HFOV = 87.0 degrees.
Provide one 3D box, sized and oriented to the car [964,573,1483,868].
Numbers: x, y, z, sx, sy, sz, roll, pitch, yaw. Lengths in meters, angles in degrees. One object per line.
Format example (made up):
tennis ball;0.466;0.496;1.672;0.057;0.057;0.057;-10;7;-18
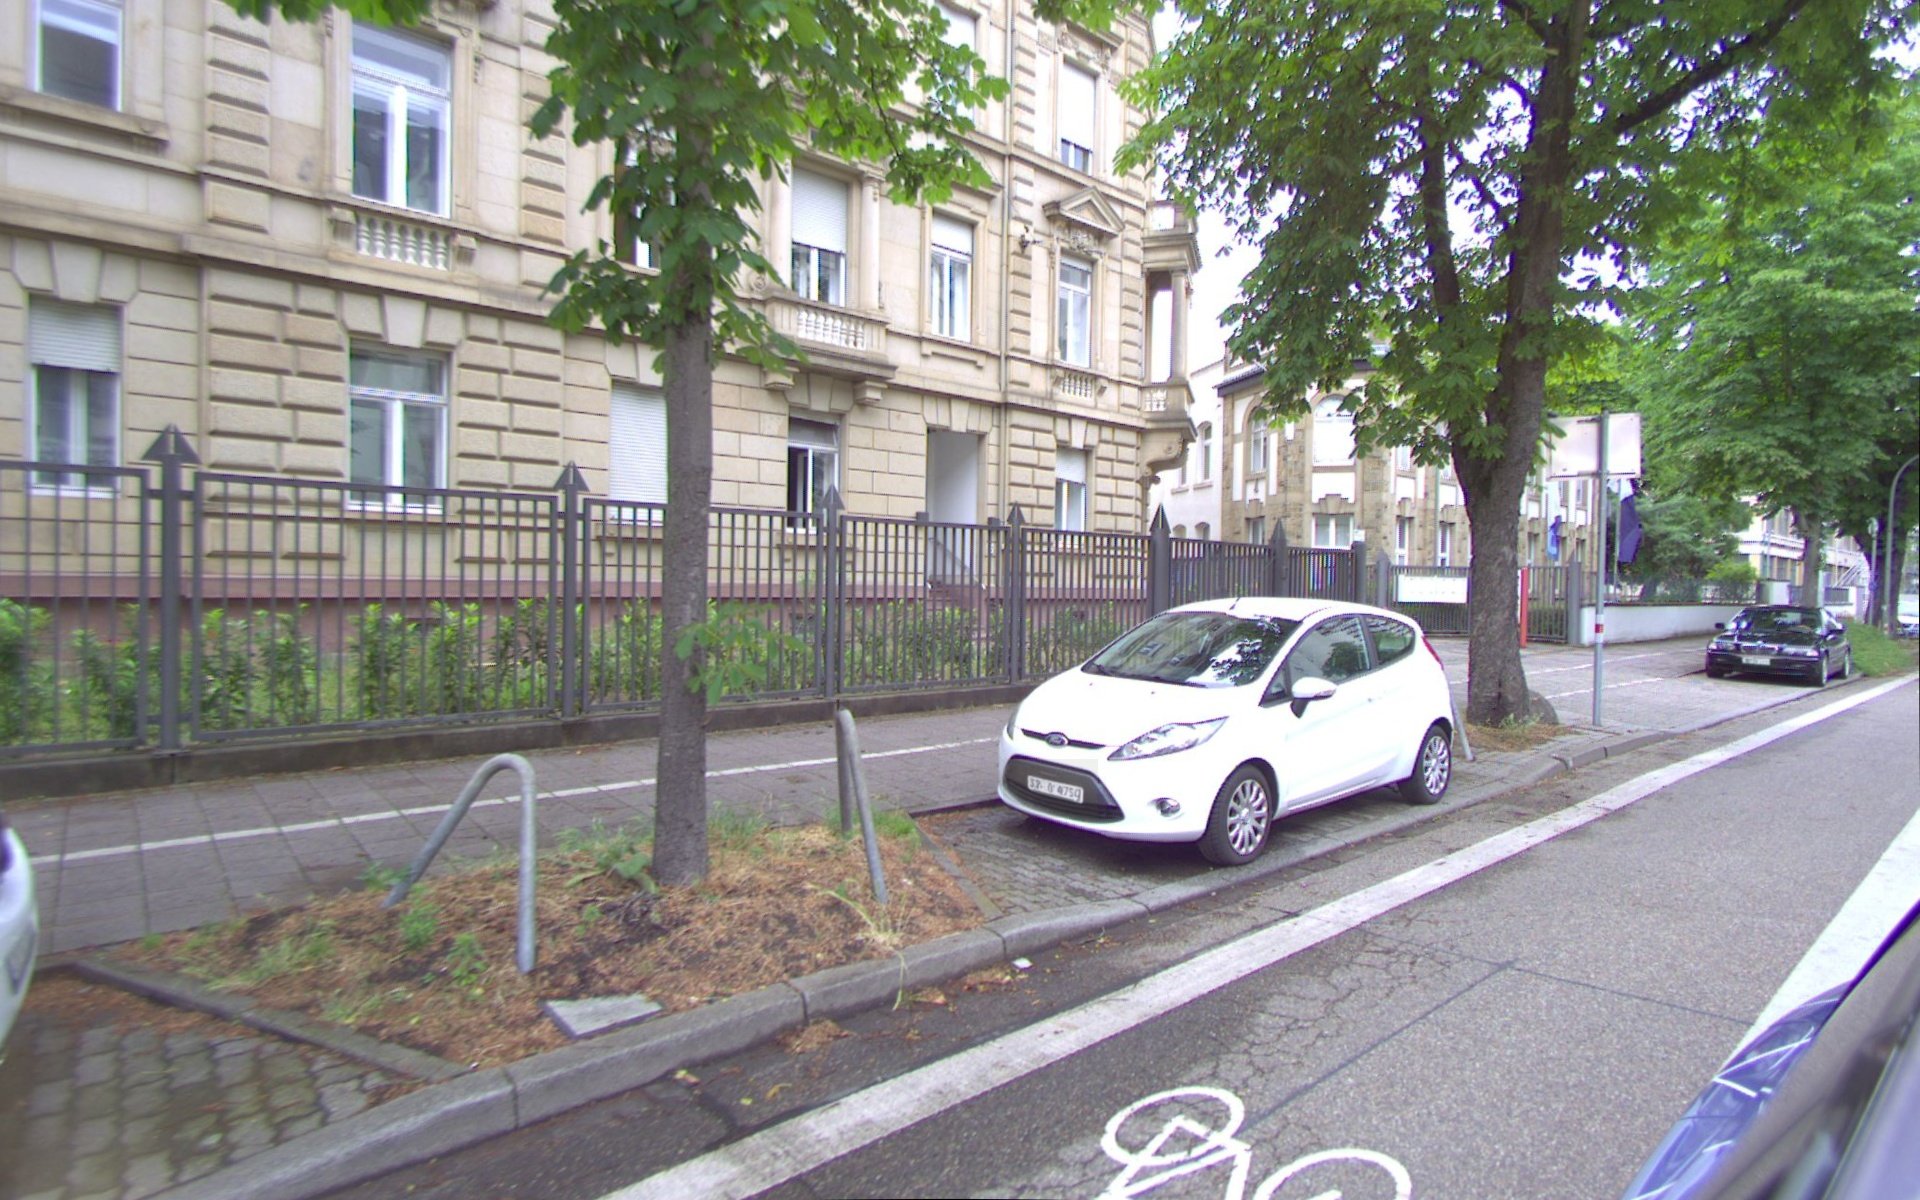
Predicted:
car;1.962;0.587;6.979;3.699;1.453;1.631;0;3;-41

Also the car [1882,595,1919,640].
car;32.069;0.578;33.653;3.770;1.387;1.605;0;3;-41

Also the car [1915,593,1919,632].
car;37.554;0.479;38.340;3.770;1.442;1.605;0;3;-41

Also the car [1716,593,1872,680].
car;15.637;0.609;18.922;3.770;1.387;1.605;0;3;-41

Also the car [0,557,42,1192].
car;-4.073;0.631;1.673;3.710;1.453;1.606;0;3;-40
